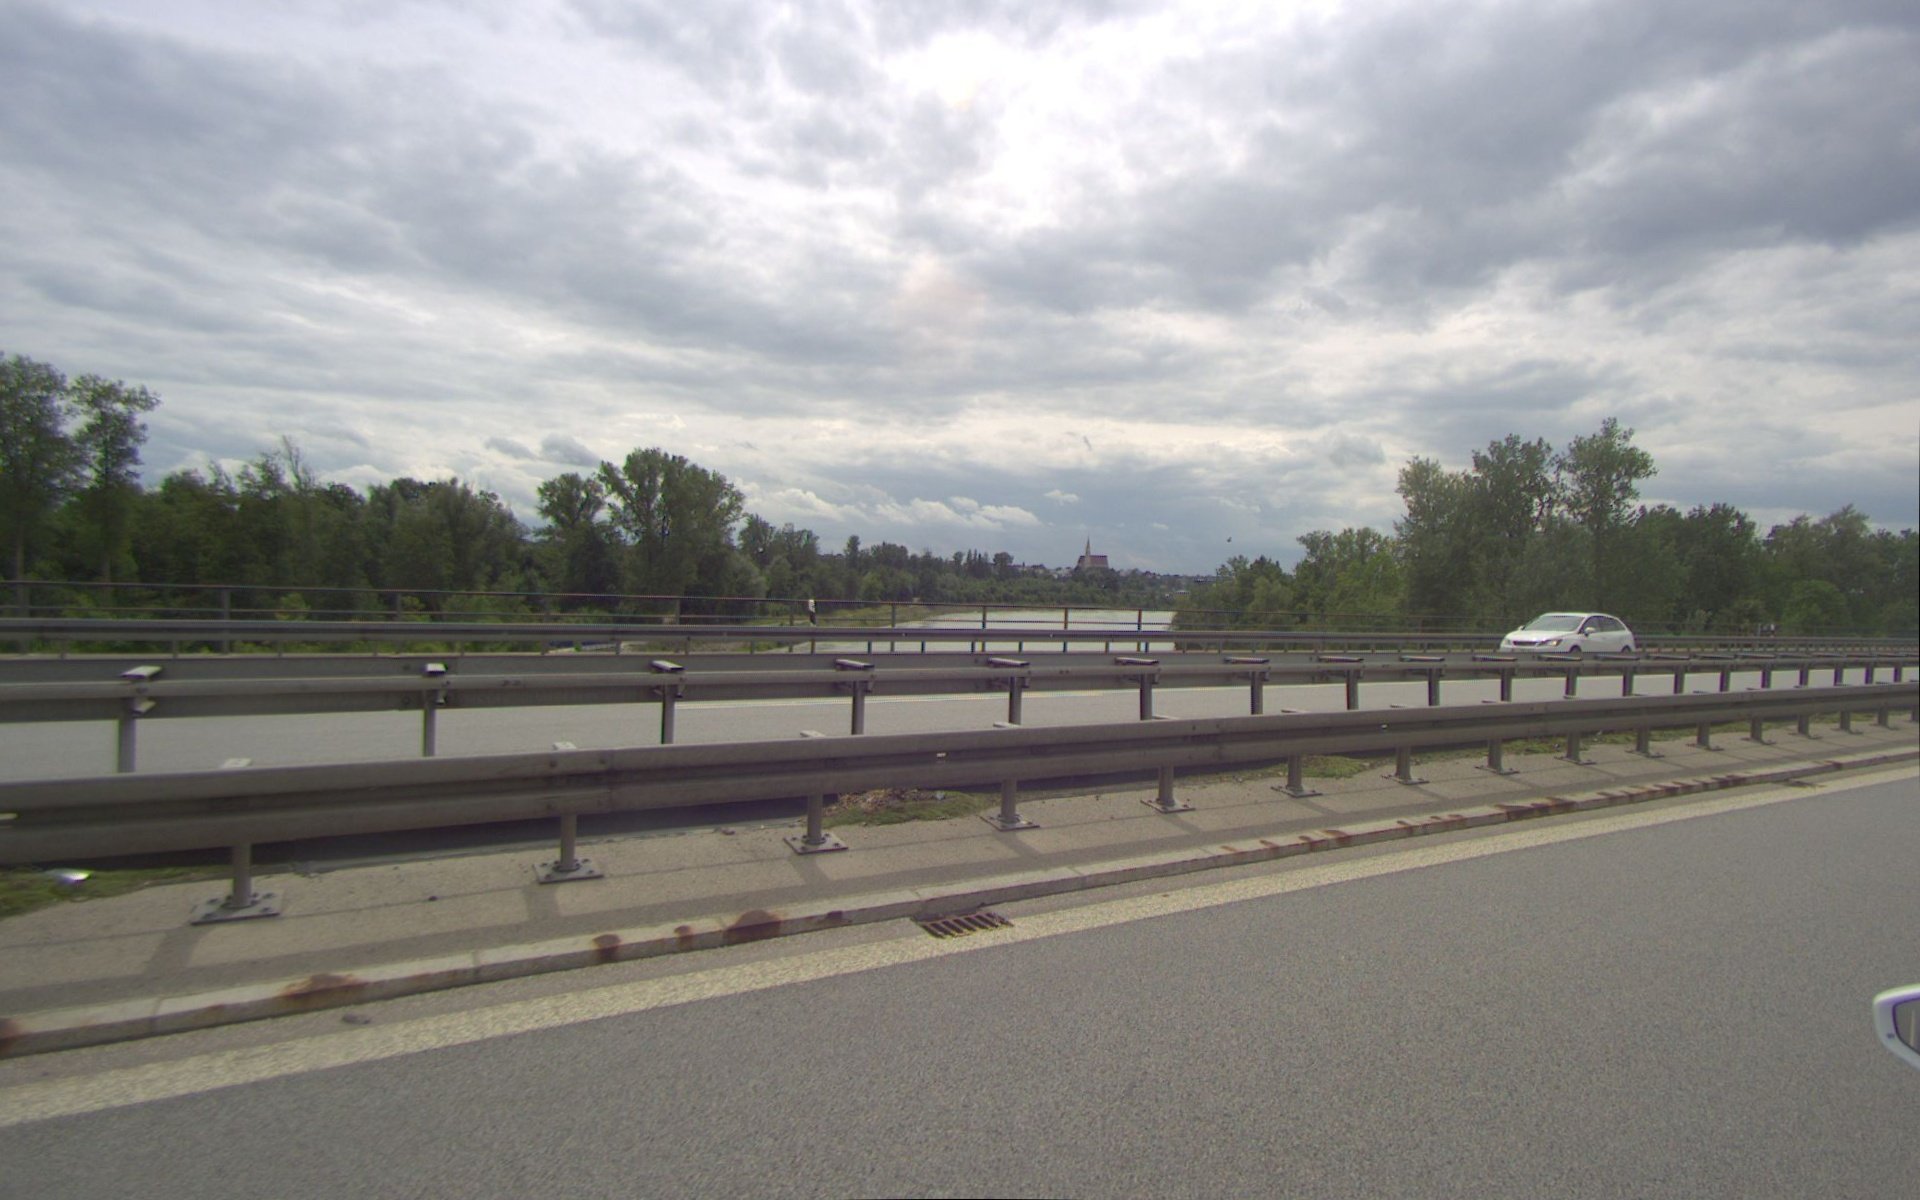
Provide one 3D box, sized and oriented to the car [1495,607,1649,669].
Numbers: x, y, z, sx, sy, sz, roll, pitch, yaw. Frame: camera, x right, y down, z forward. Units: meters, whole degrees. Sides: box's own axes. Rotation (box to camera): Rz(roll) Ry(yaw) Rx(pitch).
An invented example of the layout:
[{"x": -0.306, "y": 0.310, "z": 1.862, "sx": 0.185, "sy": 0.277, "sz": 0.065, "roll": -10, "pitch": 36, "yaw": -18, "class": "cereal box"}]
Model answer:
[{"x": 15.497, "y": 0.945, "z": 25.378, "sx": 4.280, "sy": 1.425, "sz": 1.523, "roll": 1, "pitch": 0, "yaw": -32, "class": "car"}]
